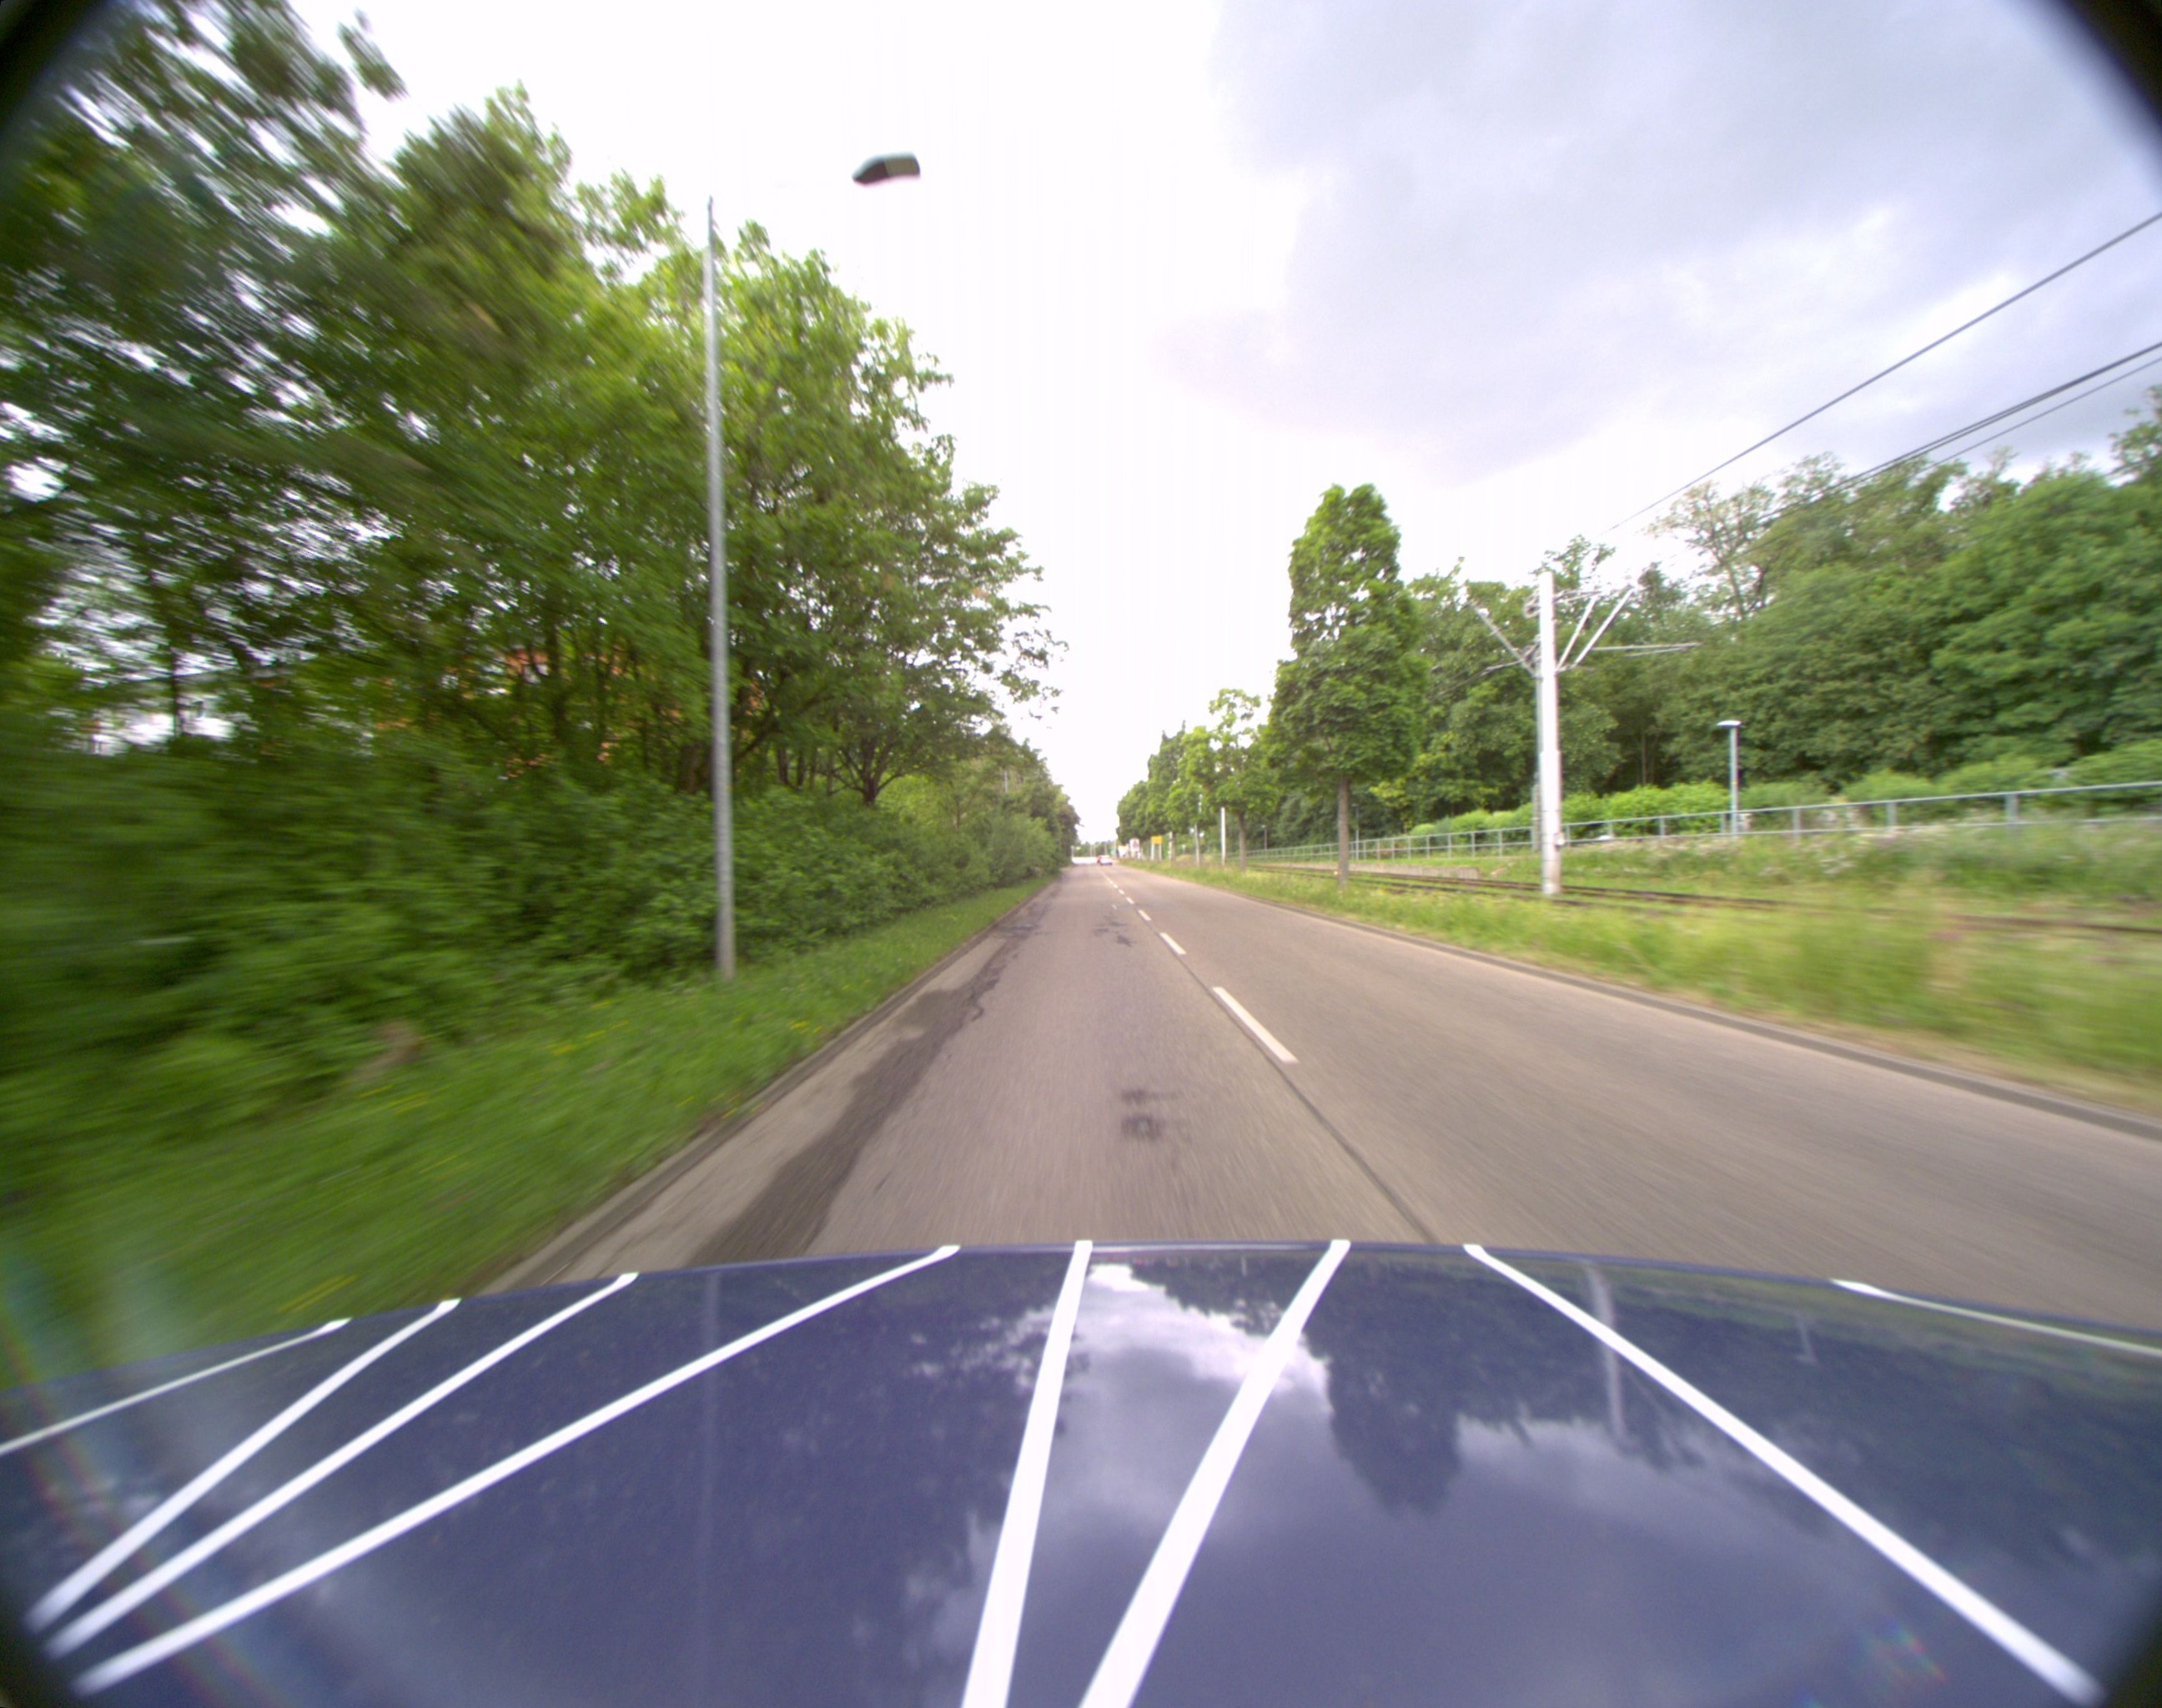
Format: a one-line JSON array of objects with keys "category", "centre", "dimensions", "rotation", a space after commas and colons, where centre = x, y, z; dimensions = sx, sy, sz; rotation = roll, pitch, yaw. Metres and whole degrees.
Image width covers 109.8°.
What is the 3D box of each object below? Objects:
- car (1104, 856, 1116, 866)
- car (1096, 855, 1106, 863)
[{"category": "car", "centre": [4.458, 1.035, 118.723], "dimensions": [1.778, 1.460, 4.241], "rotation": [-2, 0, 1]}, {"category": "car", "centre": [4.154, 0.951, 156.330], "dimensions": [2.038, 1.508, 3.654], "rotation": [-2, 0, 1]}]
